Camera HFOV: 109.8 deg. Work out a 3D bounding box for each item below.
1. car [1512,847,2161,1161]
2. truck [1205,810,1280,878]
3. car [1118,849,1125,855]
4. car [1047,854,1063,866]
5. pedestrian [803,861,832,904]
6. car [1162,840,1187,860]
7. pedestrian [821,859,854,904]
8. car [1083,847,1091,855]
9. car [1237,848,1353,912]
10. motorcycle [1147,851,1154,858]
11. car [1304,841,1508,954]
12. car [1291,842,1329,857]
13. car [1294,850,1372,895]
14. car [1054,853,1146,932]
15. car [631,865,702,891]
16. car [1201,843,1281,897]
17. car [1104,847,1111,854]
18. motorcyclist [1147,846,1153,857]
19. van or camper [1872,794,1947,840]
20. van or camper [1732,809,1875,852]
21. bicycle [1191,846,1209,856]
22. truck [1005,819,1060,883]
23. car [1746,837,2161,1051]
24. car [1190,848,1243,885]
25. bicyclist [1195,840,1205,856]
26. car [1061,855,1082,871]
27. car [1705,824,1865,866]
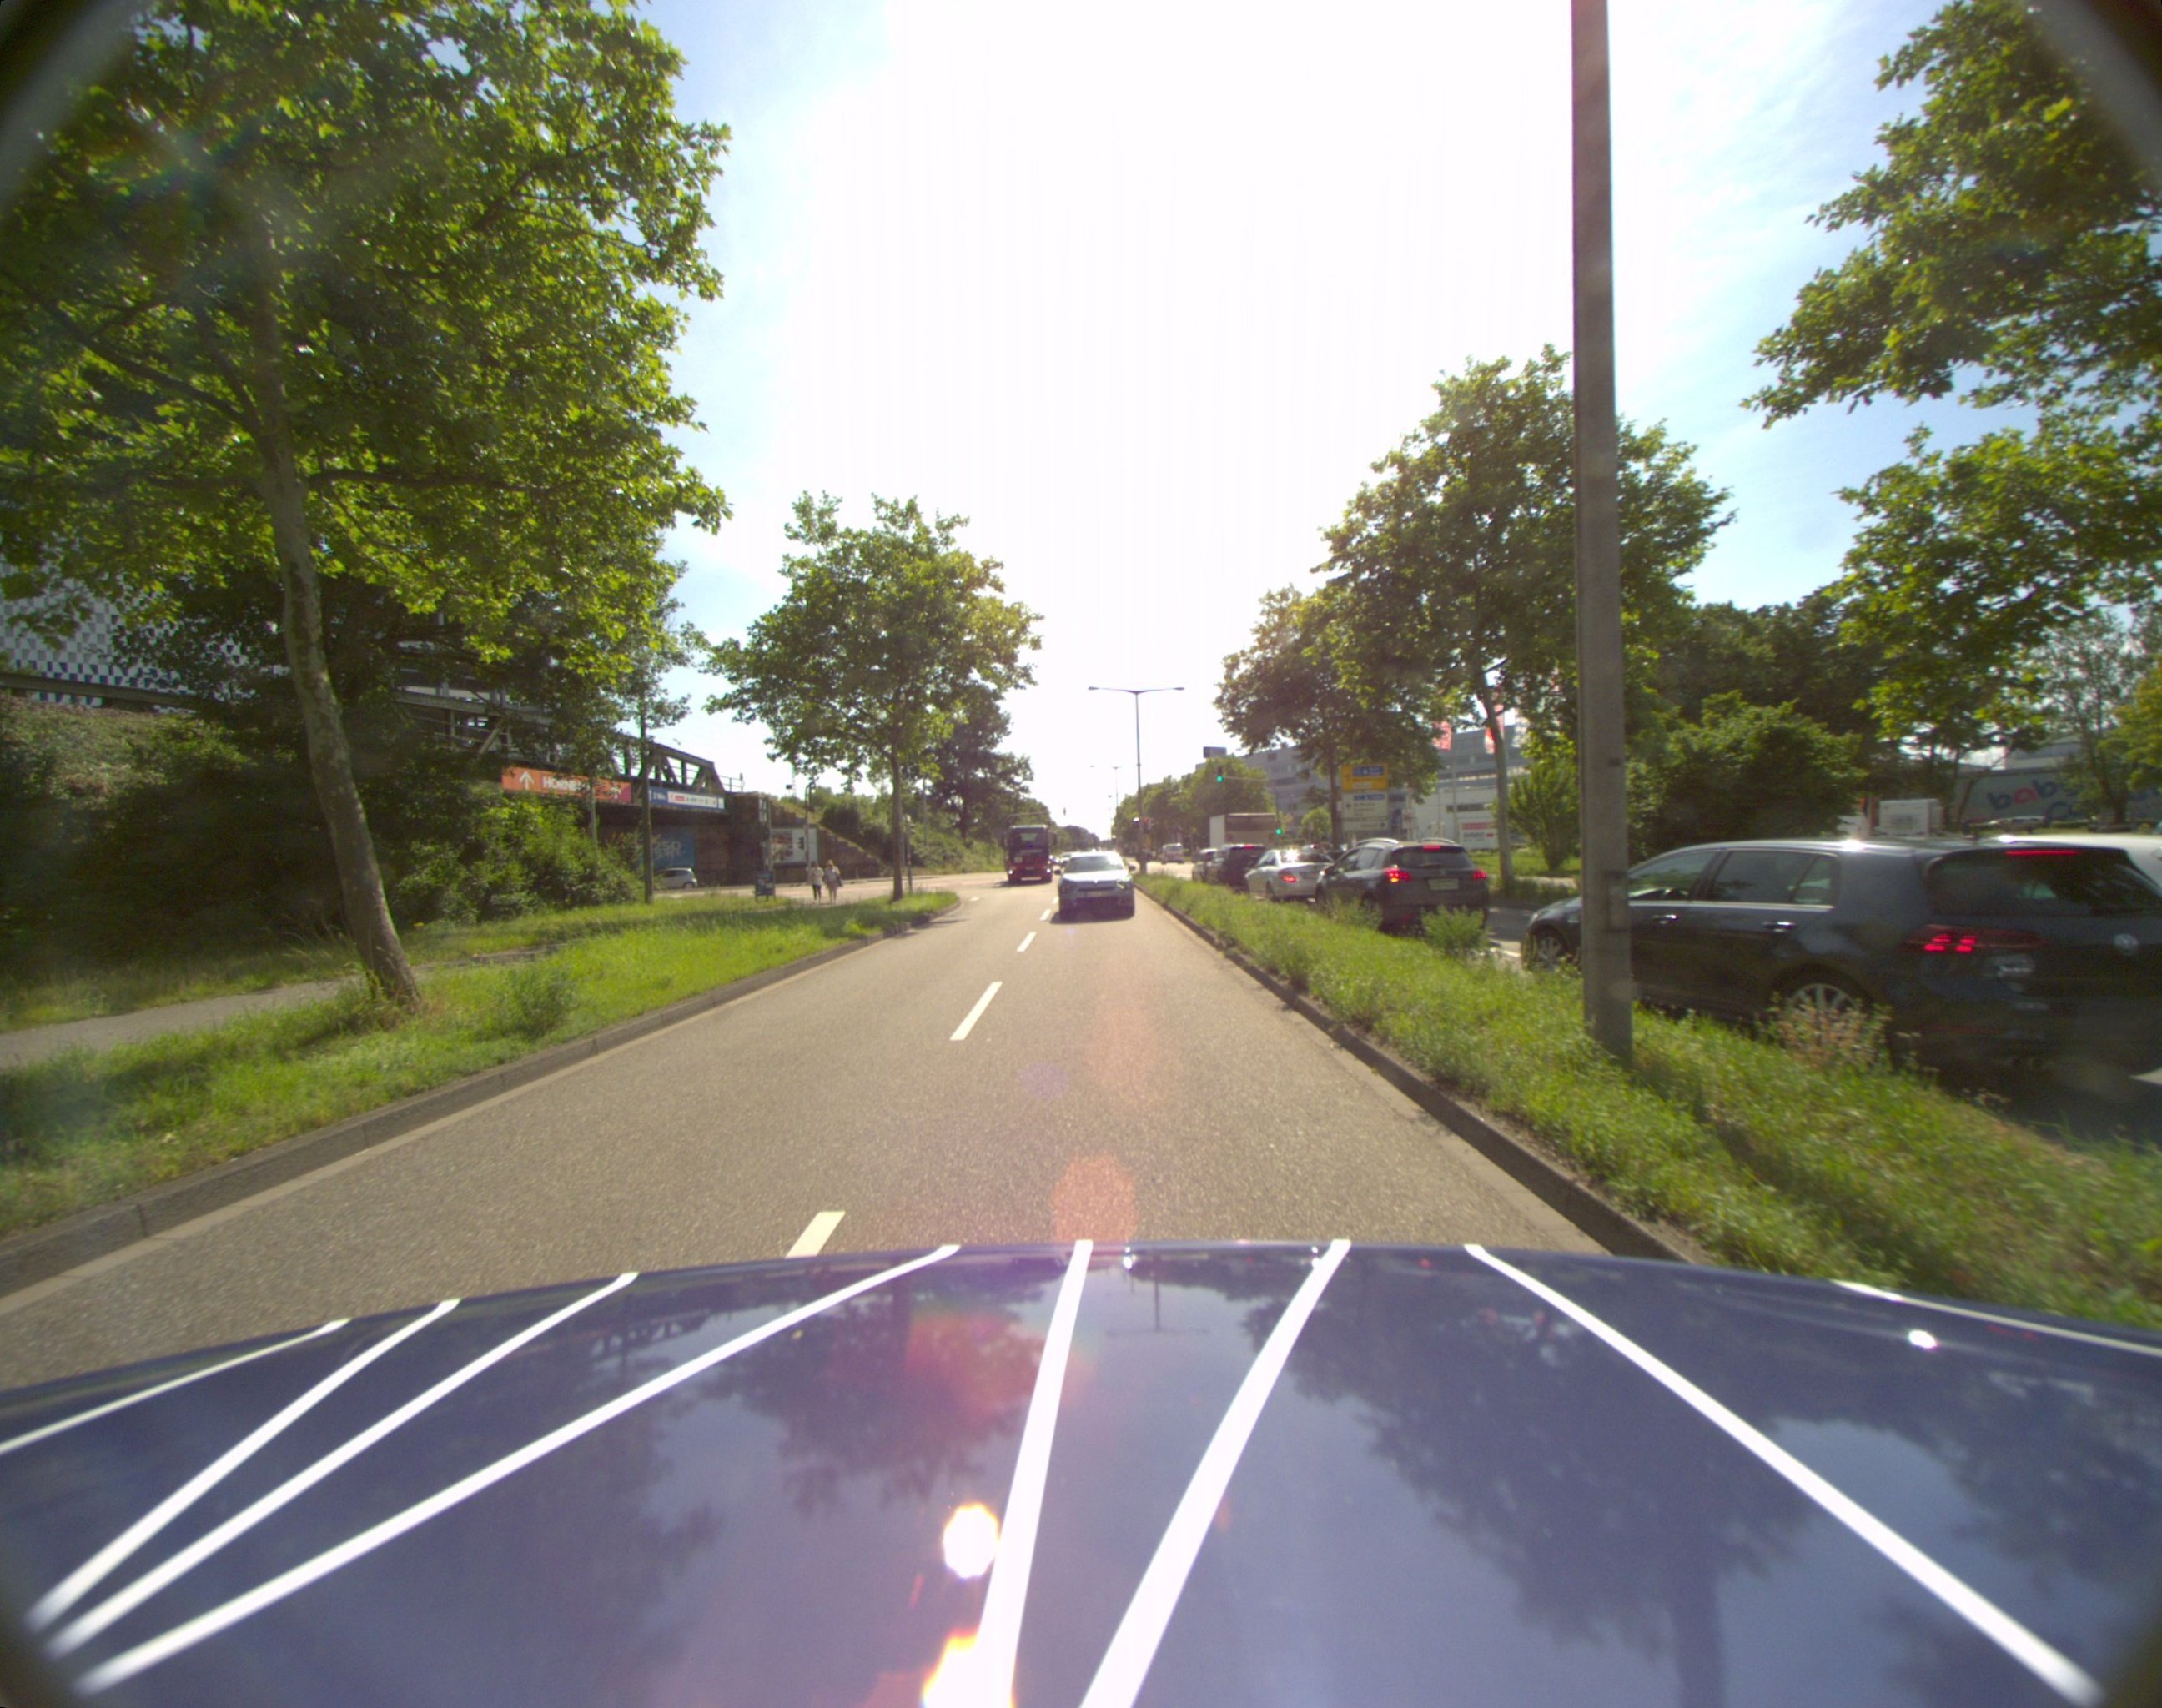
[{"bbox_3d":[5.220,0.691,5.644,1.693,1.465,4.218,0,0,1],"label":"car"},{"bbox_3d":[8.844,-0.503,42.427,2.811,3.451,6.691,0,0,0],"label":"truck"},{"bbox_3d":[10.529,-0.498,197.030,1.653,1.505,3.735,-2,0,1],"label":"car"},{"bbox_3d":[-3.636,0.797,106.734,1.826,1.521,4.548,-2,0,2],"label":"car"},{"bbox_3d":[-9.825,1.054,28.324,0.731,1.570,0.777,-2,1,0],"label":"pedestrian"},{"bbox_3d":[9.343,-0.390,76.552,1.981,1.988,5.031,0,0,1],"label":"car"},{"bbox_3d":[-8.981,1.000,28.040,0.870,1.602,0.777,-2,1,0],"label":"pedestrian"},{"bbox_3d":[1.608,-0.692,193.870,1.998,2.002,4.000,-2,0,1],"label":"car"},{"bbox_3d":[5.444,0.591,19.941,1.801,1.459,4.522,-1,0,1],"label":"car"},{"bbox_3d":[9.430,0.089,103.566,0.689,0.985,2.217,-2,0,1],"label":"motorcycle"},{"bbox_3d":[5.260,0.610,12.973,1.693,1.577,4.240,-1,0,1],"label":"car"},{"bbox_3d":[25.189,-0.517,83.516,4.007,1.441,1.842,-2,0,-35],"label":"car"},{"bbox_3d":[8.698,0.593,26.492,1.568,1.444,3.544,-1,0,1],"label":"car"},{"bbox_3d":[0.468,0.786,17.933,1.826,1.521,4.752,-2,0,2],"label":"car"},{"bbox_3d":[-25.394,1.445,46.543,3.684,1.429,1.702,-2,1,-32],"label":"car"},{"bbox_3d":[5.421,0.476,26.316,1.824,1.637,4.693,-1,1,1],"label":"car"},{"bbox_3d":[7.733,-1.104,222.103,1.998,2.002,4.000,-2,0,1],"label":"car"},{"bbox_3d":[9.419,-0.296,103.707,0.745,1.462,0.987,-2,1,1],"label":"motorcyclist"},{"bbox_3d":[60.509,-2.750,55.449,6.335,3.083,2.705,-3,1,-34],"label":"van or camper"},{"bbox_3d":[40.905,-1.288,43.172,2.199,2.197,5.505,-3,1,-33],"label":"van or camper"},{"bbox_3d":[13.359,-0.349,85.235,2.168,1.058,0.524,-3,1,-29],"label":"bicycle"},{"bbox_3d":[-2.671,-0.156,43.721,2.776,3.248,7.481,-2,0,-2],"label":"truck"},{"bbox_3d":[8.547,0.632,6.743,1.693,1.521,4.083,0,0,0],"label":"car"},{"bbox_3d":[5.752,0.510,32.619,1.597,1.468,3.729,-1,0,1],"label":"car"},{"bbox_3d":[13.339,-0.684,85.196,0.769,1.778,0.704,-3,1,-29],"label":"bicyclist"},{"bbox_3d":[-0.971,0.872,77.553,1.826,1.521,4.548,-2,0,2],"label":"car"},{"bbox_3d":[27.860,-0.363,30.152,4.576,1.406,2.199,-2,1,-6],"label":"car"}]
